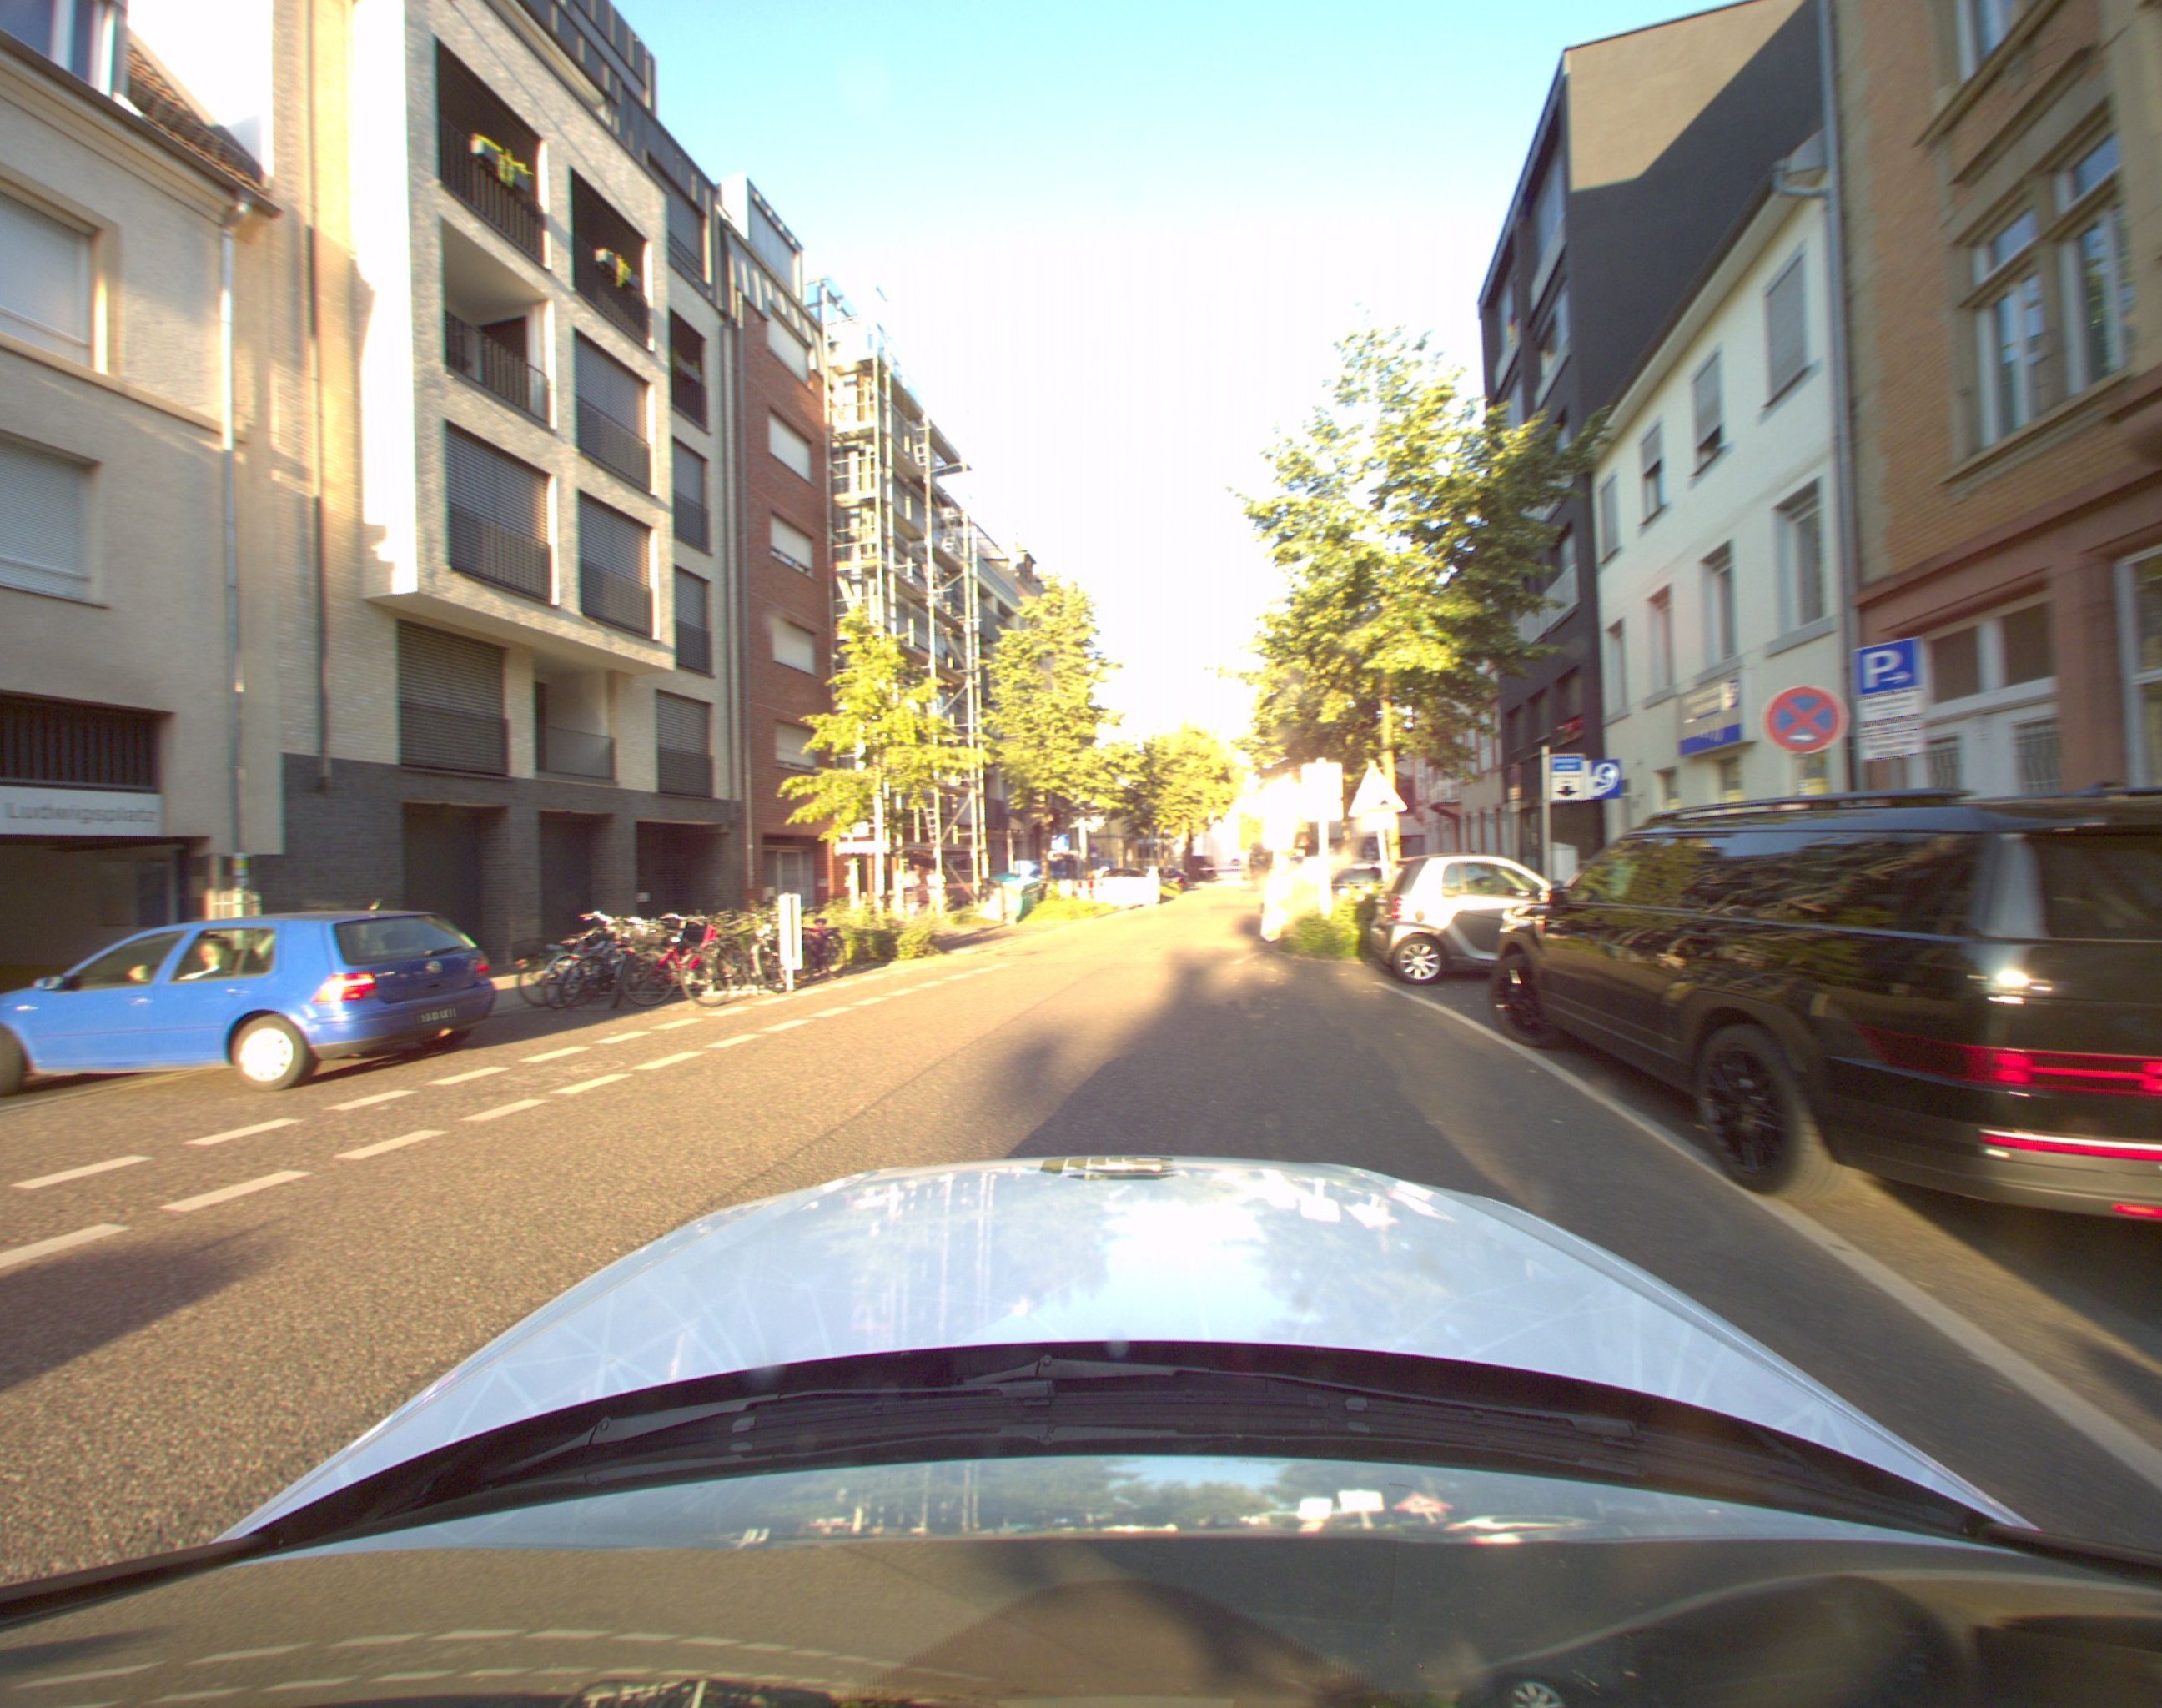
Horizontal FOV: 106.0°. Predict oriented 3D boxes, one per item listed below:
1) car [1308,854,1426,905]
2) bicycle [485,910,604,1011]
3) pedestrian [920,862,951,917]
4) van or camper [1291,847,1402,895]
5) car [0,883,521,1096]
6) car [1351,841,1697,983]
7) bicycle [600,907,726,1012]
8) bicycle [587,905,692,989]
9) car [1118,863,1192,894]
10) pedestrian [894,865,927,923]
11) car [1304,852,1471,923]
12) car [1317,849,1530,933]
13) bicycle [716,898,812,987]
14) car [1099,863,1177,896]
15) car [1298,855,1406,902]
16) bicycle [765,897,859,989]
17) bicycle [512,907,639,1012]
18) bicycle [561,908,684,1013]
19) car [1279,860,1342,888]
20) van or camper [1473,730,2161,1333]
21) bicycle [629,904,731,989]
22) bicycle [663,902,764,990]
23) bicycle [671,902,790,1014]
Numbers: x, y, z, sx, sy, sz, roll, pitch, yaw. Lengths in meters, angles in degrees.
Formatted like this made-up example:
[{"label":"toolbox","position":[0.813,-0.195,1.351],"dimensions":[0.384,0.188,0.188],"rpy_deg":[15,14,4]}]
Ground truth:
[{"label":"car","position":[9.766,0.874,28.070],"dimensions":[3.660,1.670,1.865],"rpy_deg":[-1,-1,12]},{"label":"bicycle","position":[-7.146,1.388,10.922],"dimensions":[0.384,1.183,1.411],"rpy_deg":[-2,-1,15]},{"label":"pedestrian","position":[-4.806,1.155,26.908],"dimensions":[0.736,1.783,0.659],"rpy_deg":[-3,-1,13]},{"label":"van or camper","position":[11.464,0.749,35.473],"dimensions":[4.410,2.005,1.865],"rpy_deg":[-1,-1,12]},{"label":"car","position":[-7.785,1.173,7.516],"dimensions":[4.086,1.563,1.696],"rpy_deg":[-3,-1,4]},{"label":"car","position":[5.267,0.698,10.114],"dimensions":[3.446,1.576,1.513],"rpy_deg":[-2,-1,12]},{"label":"bicycle","position":[-5.339,1.313,10.497],"dimensions":[0.413,1.157,1.560],"rpy_deg":[-2,-1,20]},{"label":"bicycle","position":[-6.804,1.409,12.627],"dimensions":[0.454,1.132,1.558],"rpy_deg":[-2,-1,15]},{"label":"car","position":[4.370,1.433,47.867],"dimensions":[3.956,1.684,1.899],"rpy_deg":[-2,-1,17]},{"label":"pedestrian","position":[-5.437,1.271,25.998],"dimensions":[0.736,1.783,0.659],"rpy_deg":[-3,-1,15]},{"label":"car","position":[7.507,0.808,20.272],"dimensions":[3.660,1.670,1.865],"rpy_deg":[-1,-1,12]},{"label":"car","position":[7.218,0.769,17.583],"dimensions":[3.968,1.670,1.865],"rpy_deg":[-1,-1,12]},{"label":"bicycle","position":[-4.701,1.287,12.177],"dimensions":[0.483,1.163,1.558],"rpy_deg":[-2,-1,15]},{"label":"car","position":[3.176,1.414,45.397],"dimensions":[3.956,1.684,1.899],"rpy_deg":[-2,-1,17]},{"label":"car","position":[10.090,0.902,30.569],"dimensions":[3.660,1.670,1.865],"rpy_deg":[-1,-1,12]},{"label":"bicycle","position":[-3.921,1.271,11.992],"dimensions":[0.503,1.179,1.558],"rpy_deg":[-2,-1,15]},{"label":"bicycle","position":[-6.632,1.345,10.769],"dimensions":[0.383,1.189,1.558],"rpy_deg":[-2,-1,15]},{"label":"bicycle","position":[-5.900,1.334,10.571],"dimensions":[0.378,1.160,1.558],"rpy_deg":[-2,-1,15]},{"label":"car","position":[13.513,1.150,47.891],"dimensions":[3.717,1.568,1.836],"rpy_deg":[0,-1,-43]},{"label":"van or camper","position":[3.938,0.537,4.607],"dimensions":[1.878,1.807,4.472],"rpy_deg":[-1,-1,9]},{"label":"bicycle","position":[-6.116,1.379,12.508],"dimensions":[0.463,1.144,1.558],"rpy_deg":[-2,-1,15]},{"label":"bicycle","position":[-5.473,1.339,12.229],"dimensions":[0.483,1.150,1.558],"rpy_deg":[-2,-1,15]},{"label":"bicycle","position":[-4.369,1.255,10.268],"dimensions":[0.493,1.220,1.558],"rpy_deg":[-2,-1,15]}]
